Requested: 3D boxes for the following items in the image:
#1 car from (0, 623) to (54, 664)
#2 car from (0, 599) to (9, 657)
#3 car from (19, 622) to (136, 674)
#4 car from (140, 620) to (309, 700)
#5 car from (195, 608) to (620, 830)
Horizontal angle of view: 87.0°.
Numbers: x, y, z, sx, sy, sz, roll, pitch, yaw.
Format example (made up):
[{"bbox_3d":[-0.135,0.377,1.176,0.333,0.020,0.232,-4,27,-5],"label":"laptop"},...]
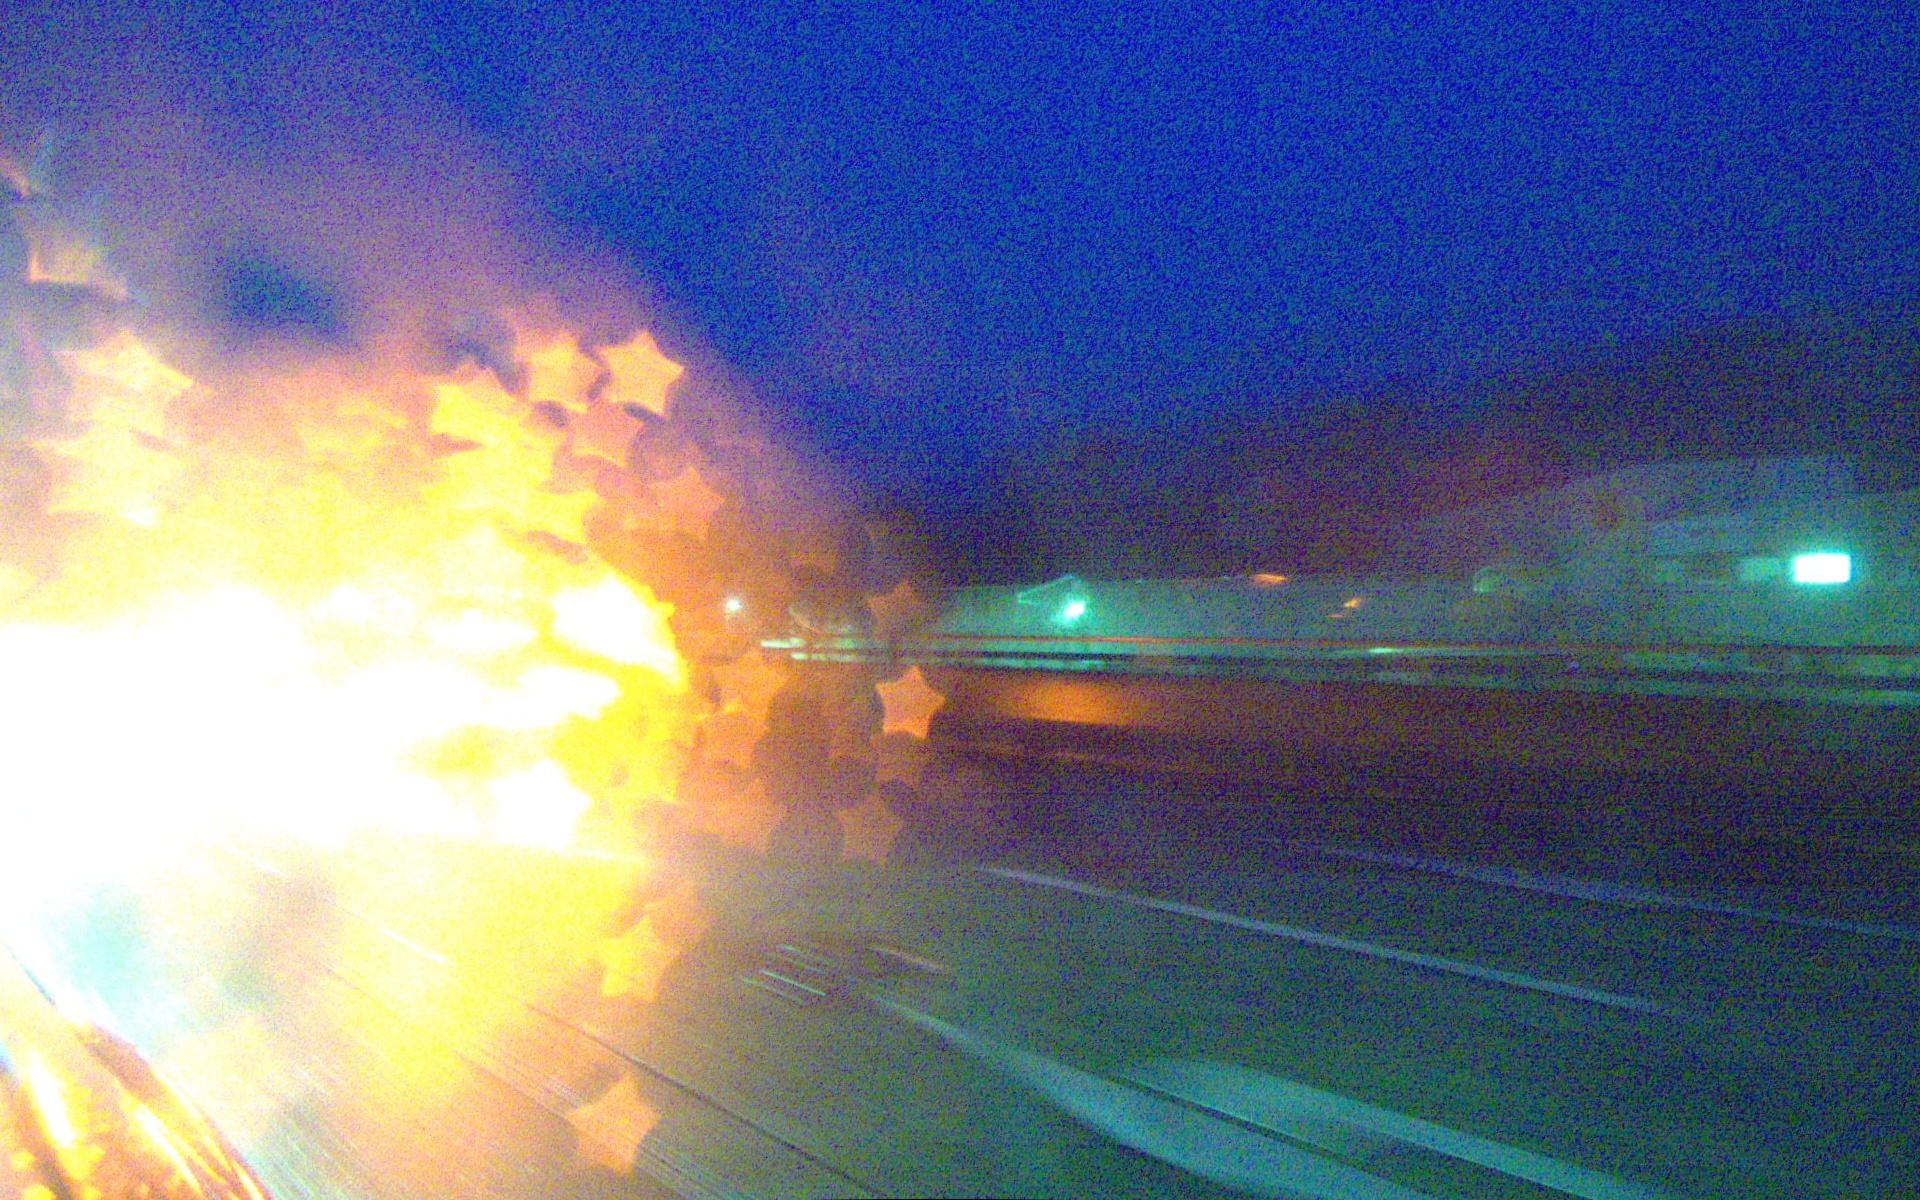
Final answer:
[{"bbox_3d":[-38.417,1.732,41.192,3.986,1.548,1.859,-2,-1,41],"label":"car"},{"bbox_3d":[-48.527,1.396,49.625,6.236,2.728,2.101,-2,-1,40],"label":"car"},{"bbox_3d":[-27.953,1.465,31.995,4.988,1.460,2.056,-1,-1,40],"label":"car"},{"bbox_3d":[-15.568,1.189,21.333,4.543,1.455,1.898,-1,-1,41],"label":"car"},{"bbox_3d":[-4.917,0.819,8.747,4.287,1.445,1.678,-1,0,38],"label":"car"}]
